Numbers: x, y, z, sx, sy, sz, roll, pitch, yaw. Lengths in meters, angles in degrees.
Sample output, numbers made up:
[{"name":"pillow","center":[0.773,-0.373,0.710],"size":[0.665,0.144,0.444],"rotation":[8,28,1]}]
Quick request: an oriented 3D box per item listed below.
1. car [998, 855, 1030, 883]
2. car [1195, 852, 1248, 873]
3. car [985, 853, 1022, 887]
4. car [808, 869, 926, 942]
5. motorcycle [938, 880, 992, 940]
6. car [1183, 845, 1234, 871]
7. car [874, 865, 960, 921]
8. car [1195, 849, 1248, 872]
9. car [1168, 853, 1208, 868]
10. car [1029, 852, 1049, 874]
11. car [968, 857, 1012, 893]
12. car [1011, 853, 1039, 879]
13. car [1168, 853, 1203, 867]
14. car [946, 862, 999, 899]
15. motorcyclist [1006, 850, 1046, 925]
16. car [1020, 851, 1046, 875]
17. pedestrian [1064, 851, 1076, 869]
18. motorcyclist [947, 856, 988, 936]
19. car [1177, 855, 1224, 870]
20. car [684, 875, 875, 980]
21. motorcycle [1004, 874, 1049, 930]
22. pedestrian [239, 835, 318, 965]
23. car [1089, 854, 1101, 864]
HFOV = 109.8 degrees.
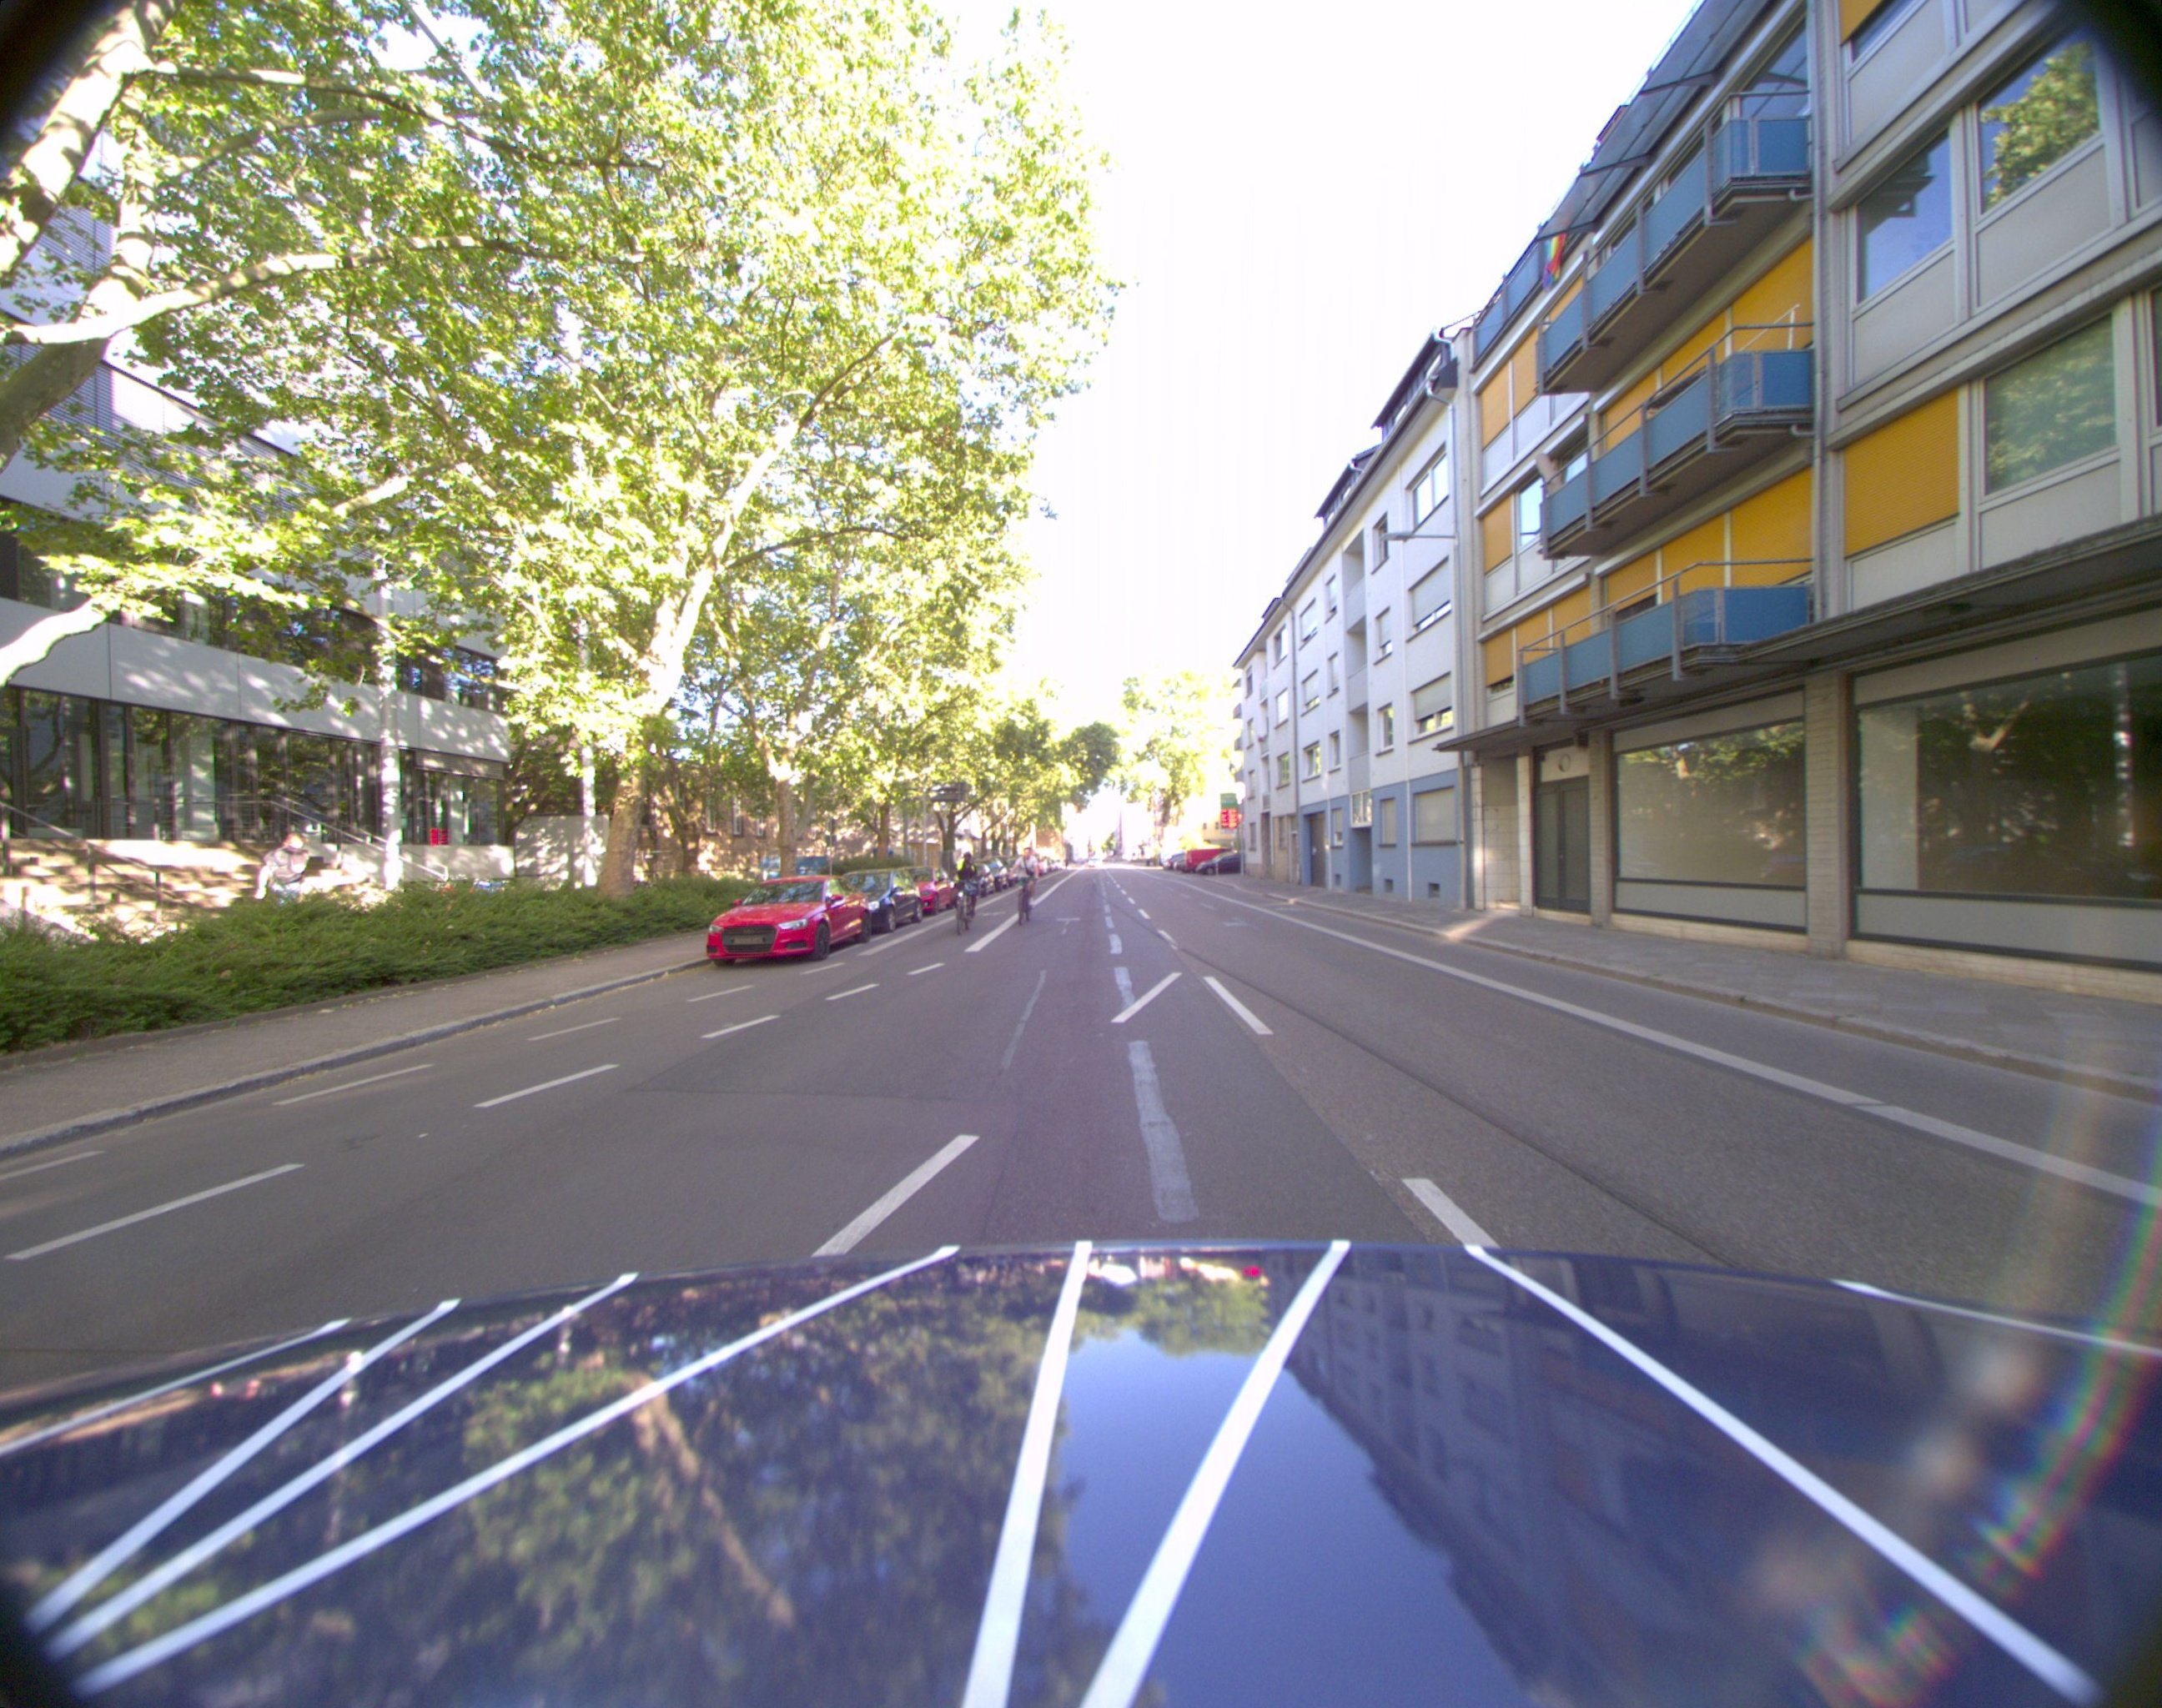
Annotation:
[{"name":"car","center":[-4.350,0.942,50.106],"size":[1.634,1.604,4.576],"rotation":[-2,1,0]},{"name":"car","center":[10.095,0.589,54.722],"size":[3.508,1.380,1.490],"rotation":[-2,1,2]},{"name":"car","center":[-4.452,0.855,44.234],"size":[1.634,1.781,4.576],"rotation":[-2,1,0]},{"name":"car","center":[-5.048,1.162,18.405],"size":[1.669,1.410,3.697],"rotation":[-2,1,1]},{"name":"motorcycle","center":[-2.538,1.197,16.871],"size":[0.799,1.125,2.236],"rotation":[-2,1,1]},{"name":"car","center":[10.065,0.320,59.936],"size":[3.688,1.897,1.490],"rotation":[-2,-1,-1]},{"name":"car","center":[-5.011,1.133,23.678],"size":[1.692,1.441,3.923],"rotation":[-2,1,1]},{"name":"car","center":[10.538,0.484,57.091],"size":[3.687,1.503,1.490],"rotation":[-2,1,2]},{"name":"car","center":[10.272,0.627,73.023],"size":[3.687,1.238,1.345],"rotation":[-2,1,2]},{"name":"car","center":[-3.898,0.810,70.997],"size":[1.599,1.835,3.769],"rotation":[-2,1,0]},{"name":"car","center":[-4.515,0.993,38.101],"size":[1.634,1.569,4.231],"rotation":[-2,1,0]},{"name":"car","center":[-4.034,0.817,55.233],"size":[1.634,1.725,3.769],"rotation":[-2,1,0]},{"name":"car","center":[10.328,0.582,75.460],"size":[3.271,1.238,1.345],"rotation":[-2,1,2]},{"name":"car","center":[-4.691,1.112,33.230],"size":[1.692,1.414,3.923],"rotation":[-2,1,0]},{"name":"motorcyclist","center":[-1.345,0.801,18.693],"size":[0.833,1.778,0.913],"rotation":[-2,1,1]},{"name":"car","center":[-4.166,0.726,66.086],"size":[1.915,1.940,3.769],"rotation":[-2,1,0]},{"name":"pedestrian","center":[-1.123,0.628,77.203],"size":[0.827,1.727,0.894],"rotation":[-1,1,39]},{"name":"motorcyclist","center":[-2.526,0.919,17.018],"size":[0.719,1.733,0.751],"rotation":[-2,1,1]},{"name":"car","center":[9.816,0.693,62.581],"size":[3.687,1.122,1.345],"rotation":[-2,1,2]},{"name":"car","center":[-5.160,1.179,13.651],"size":[1.794,1.384,3.999],"rotation":[-2,1,0]},{"name":"motorcycle","center":[-1.289,1.122,18.253],"size":[0.865,1.161,1.929],"rotation":[-2,1,1]},{"name":"pedestrian","center":[-12.760,0.707,12.096],"size":[0.552,2.002,0.562],"rotation":[-2,1,-11]},{"name":"car","center":[2.081,0.742,113.242],"size":[1.752,1.423,4.266],"rotation":[-2,0,1]}]
